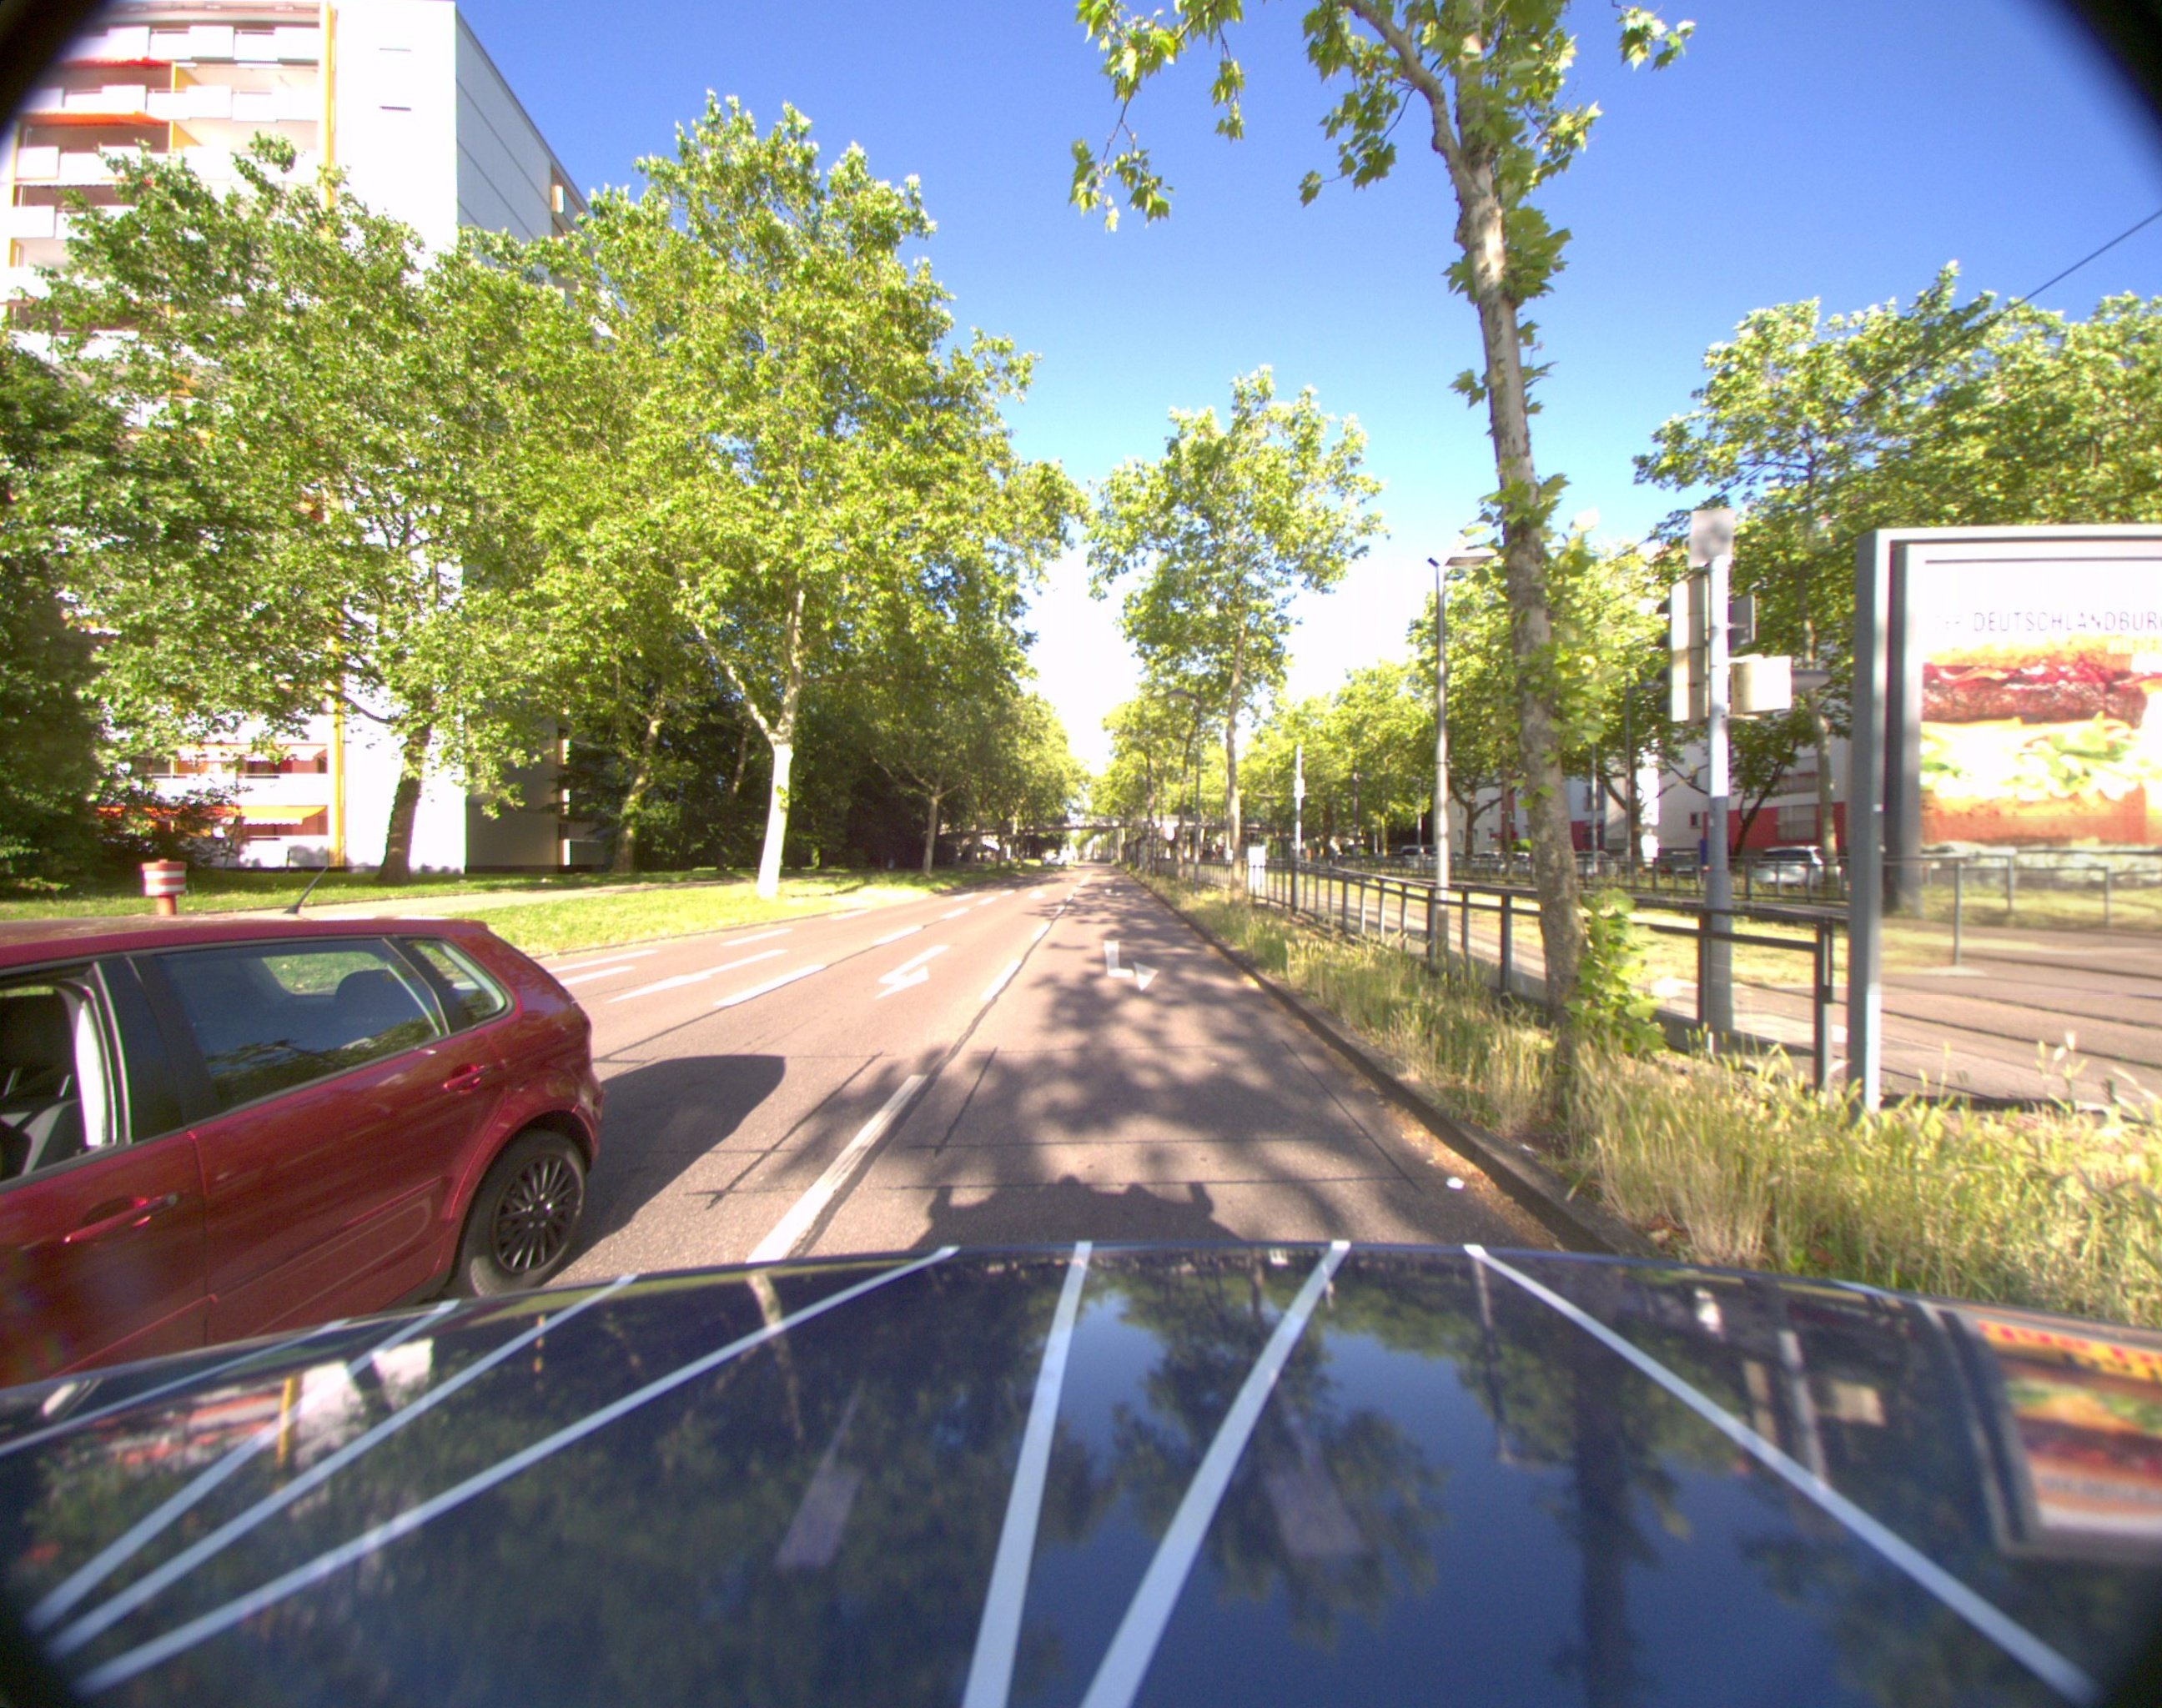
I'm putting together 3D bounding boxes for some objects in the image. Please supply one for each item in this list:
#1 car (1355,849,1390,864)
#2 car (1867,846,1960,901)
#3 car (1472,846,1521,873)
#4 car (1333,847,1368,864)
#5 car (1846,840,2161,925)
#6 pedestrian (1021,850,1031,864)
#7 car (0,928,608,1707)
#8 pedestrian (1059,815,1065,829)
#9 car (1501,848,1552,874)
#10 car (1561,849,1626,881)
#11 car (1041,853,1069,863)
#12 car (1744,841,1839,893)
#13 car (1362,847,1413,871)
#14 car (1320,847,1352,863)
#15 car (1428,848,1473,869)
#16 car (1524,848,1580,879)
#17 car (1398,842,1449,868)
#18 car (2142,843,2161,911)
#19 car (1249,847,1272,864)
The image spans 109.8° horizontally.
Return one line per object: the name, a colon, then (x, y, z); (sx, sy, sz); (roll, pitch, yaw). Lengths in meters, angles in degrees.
car: (26.659, 0.238, 69.516); (3.494, 1.312, 1.476); (-1, 1, -41)
car: (25.231, 0.548, 23.004); (3.770, 1.420, 1.555); (-3, 1, -37)
car: (25.943, 0.342, 47.385); (3.493, 1.417, 1.558); (-3, -1, -42)
car: (26.061, 0.131, 73.500); (3.835, 1.561, 1.597); (-1, 1, -43)
car: (19.116, 0.503, 15.961); (1.810, 1.514, 4.330); (-1, 0, 2)
pedestrian: (-7.823, 0.421, 107.383); (0.964, 2.002, 0.917); (-3, 1, -41)
car: (-2.886, 1.070, 1.302); (1.646, 1.430, 3.761); (-2, 1, 2)
pedestrian: (-2.507, -4.252, 102.068); (0.738, 1.873, 0.511); (-3, 1, 0)
car: (26.210, 0.415, 44.662); (3.493, 1.321, 1.476); (-3, 0, -41)
car: (25.512, 0.526, 37.772); (3.890, 1.406, 1.486); (-3, 1, -37)
car: (-4.171, 0.673, 122.586); (4.005, 1.465, 1.795); (-3, 1, -27)
car: (25.216, 0.411, 26.933); (4.007, 1.586, 1.810); (-3, 1, -37)
car: (20.436, 0.296, 50.839); (1.769, 1.503, 4.102); (-1, 0, 1)
car: (26.700, 0.109, 79.618); (3.742, 1.517, 1.597); (-1, 1, -43)
car: (26.182, 0.312, 53.853); (3.494, 1.395, 1.623); (-1, 1, -41)
car: (25.687, 0.492, 41.420); (3.402, 1.499, 1.461); (-3, 1, -37)
car: (25.690, 0.053, 56.976); (4.056, 1.802, 1.864); (-1, 1, -40)
car: (24.571, 0.534, 16.211); (4.007, 1.479, 1.689); (-3, 1, -44)
car: (21.623, 0.172, 91.704); (1.795, 1.980, 4.653); (-1, 0, 3)
